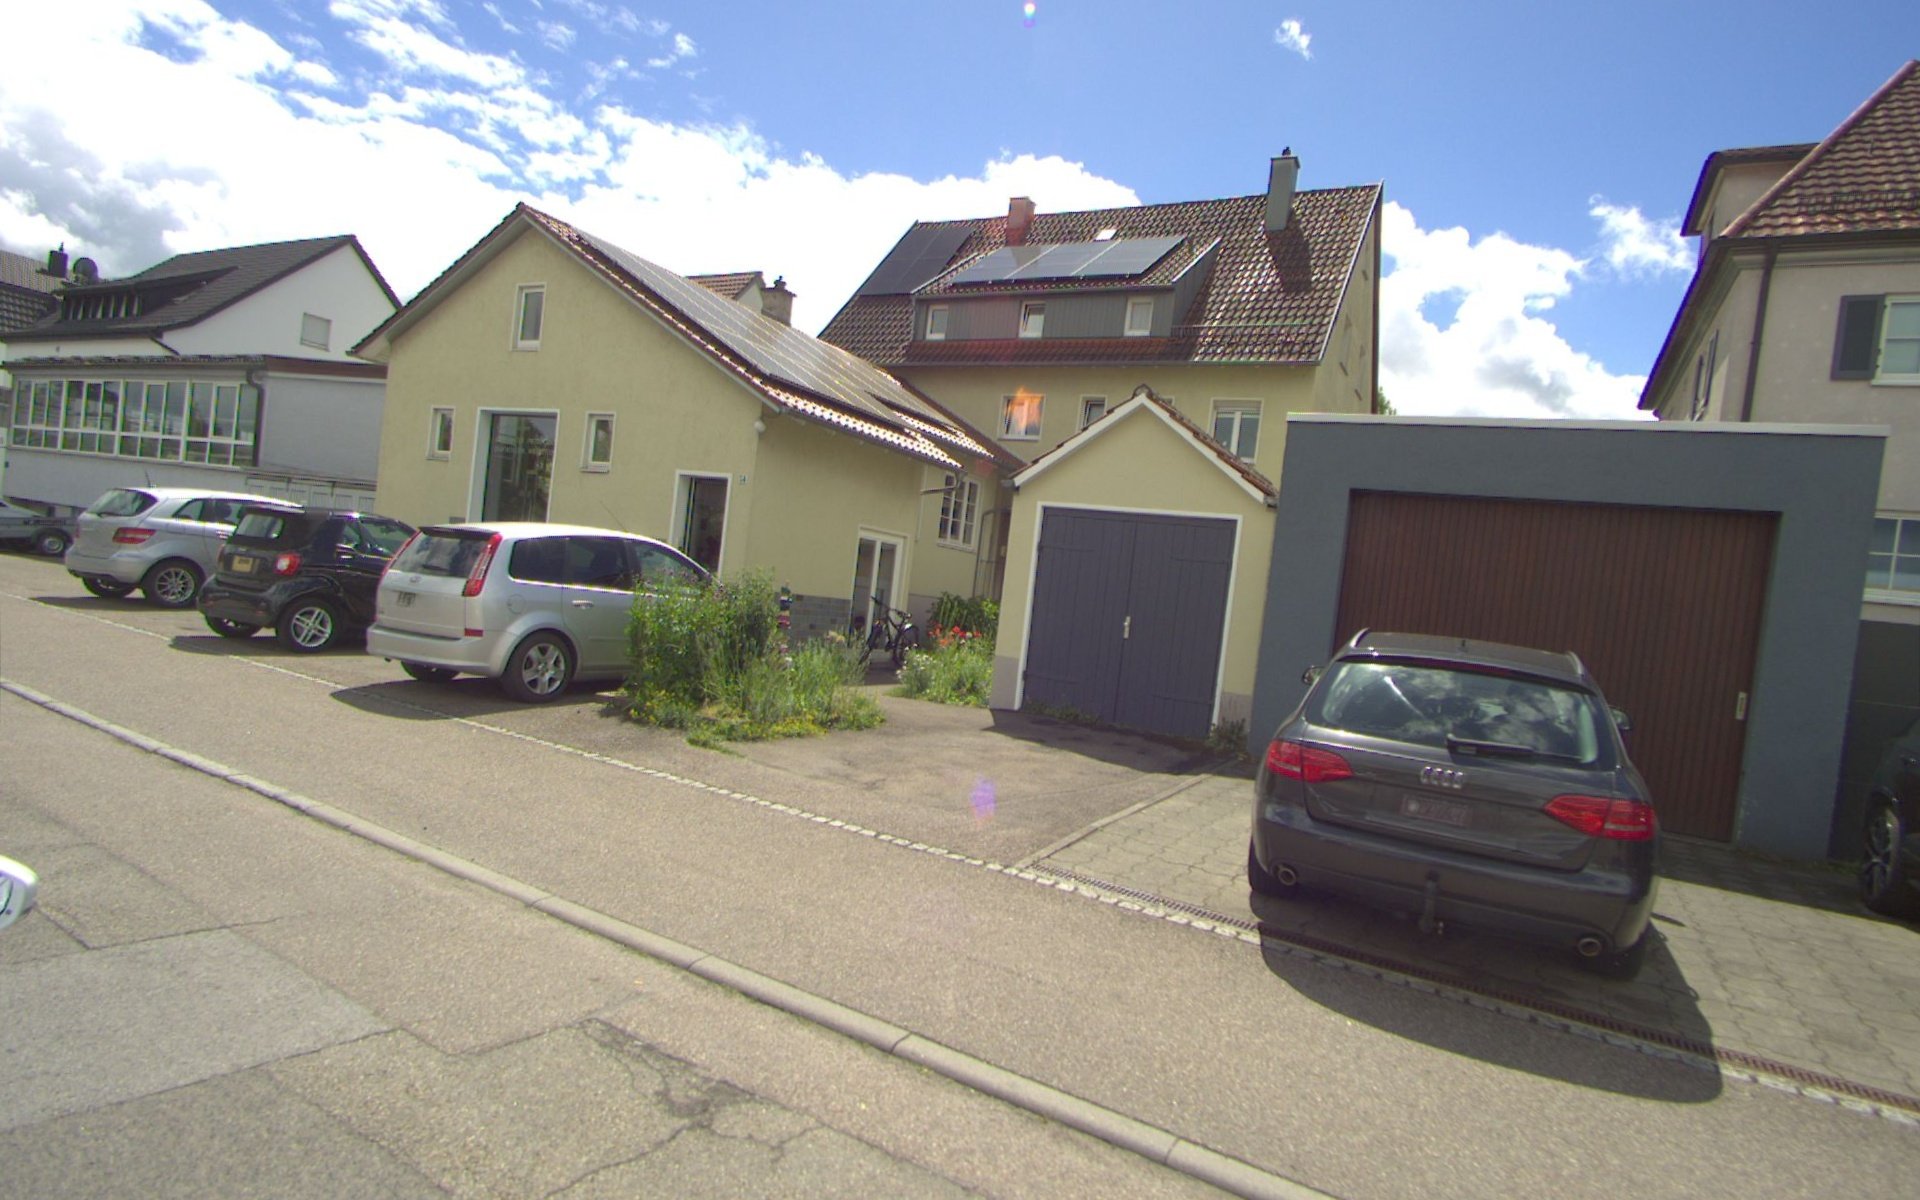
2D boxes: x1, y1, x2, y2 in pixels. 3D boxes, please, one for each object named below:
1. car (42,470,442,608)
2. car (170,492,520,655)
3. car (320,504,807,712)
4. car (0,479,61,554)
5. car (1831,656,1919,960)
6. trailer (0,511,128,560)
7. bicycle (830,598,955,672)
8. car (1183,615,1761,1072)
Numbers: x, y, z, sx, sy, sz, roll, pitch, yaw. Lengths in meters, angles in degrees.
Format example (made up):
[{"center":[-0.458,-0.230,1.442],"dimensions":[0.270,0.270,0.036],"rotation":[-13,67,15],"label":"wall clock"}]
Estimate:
[{"center":[-10.382,-0.798,14.950],"dimensions":[1.940,1.630,4.409],"rotation":[7,3,28],"label":"car"},{"center":[-7.110,-0.301,11.853],"dimensions":[1.940,1.546,2.889],"rotation":[7,3,28],"label":"car"},{"center":[-3.739,0.041,10.378],"dimensions":[1.940,1.546,4.409],"rotation":[7,3,28],"label":"car"},{"center":[-23.633,-2.189,23.172],"dimensions":[1.719,1.627,3.908],"rotation":[7,-2,29],"label":"car"},{"center":[5.827,1.197,4.540],"dimensions":[1.822,1.635,4.009],"rotation":[7,1,28],"label":"car"},{"center":[-21.132,-1.532,22.272],"dimensions":[1.628,0.818,3.821],"rotation":[7,1,29],"label":"trailer"},{"center":[-1.027,0.598,16.246],"dimensions":[0.694,1.026,2.574],"rotation":[7,0,27],"label":"bicycle"},{"center":[2.946,0.919,6.017],"dimensions":[1.940,1.426,4.409],"rotation":[7,3,28],"label":"car"}]
